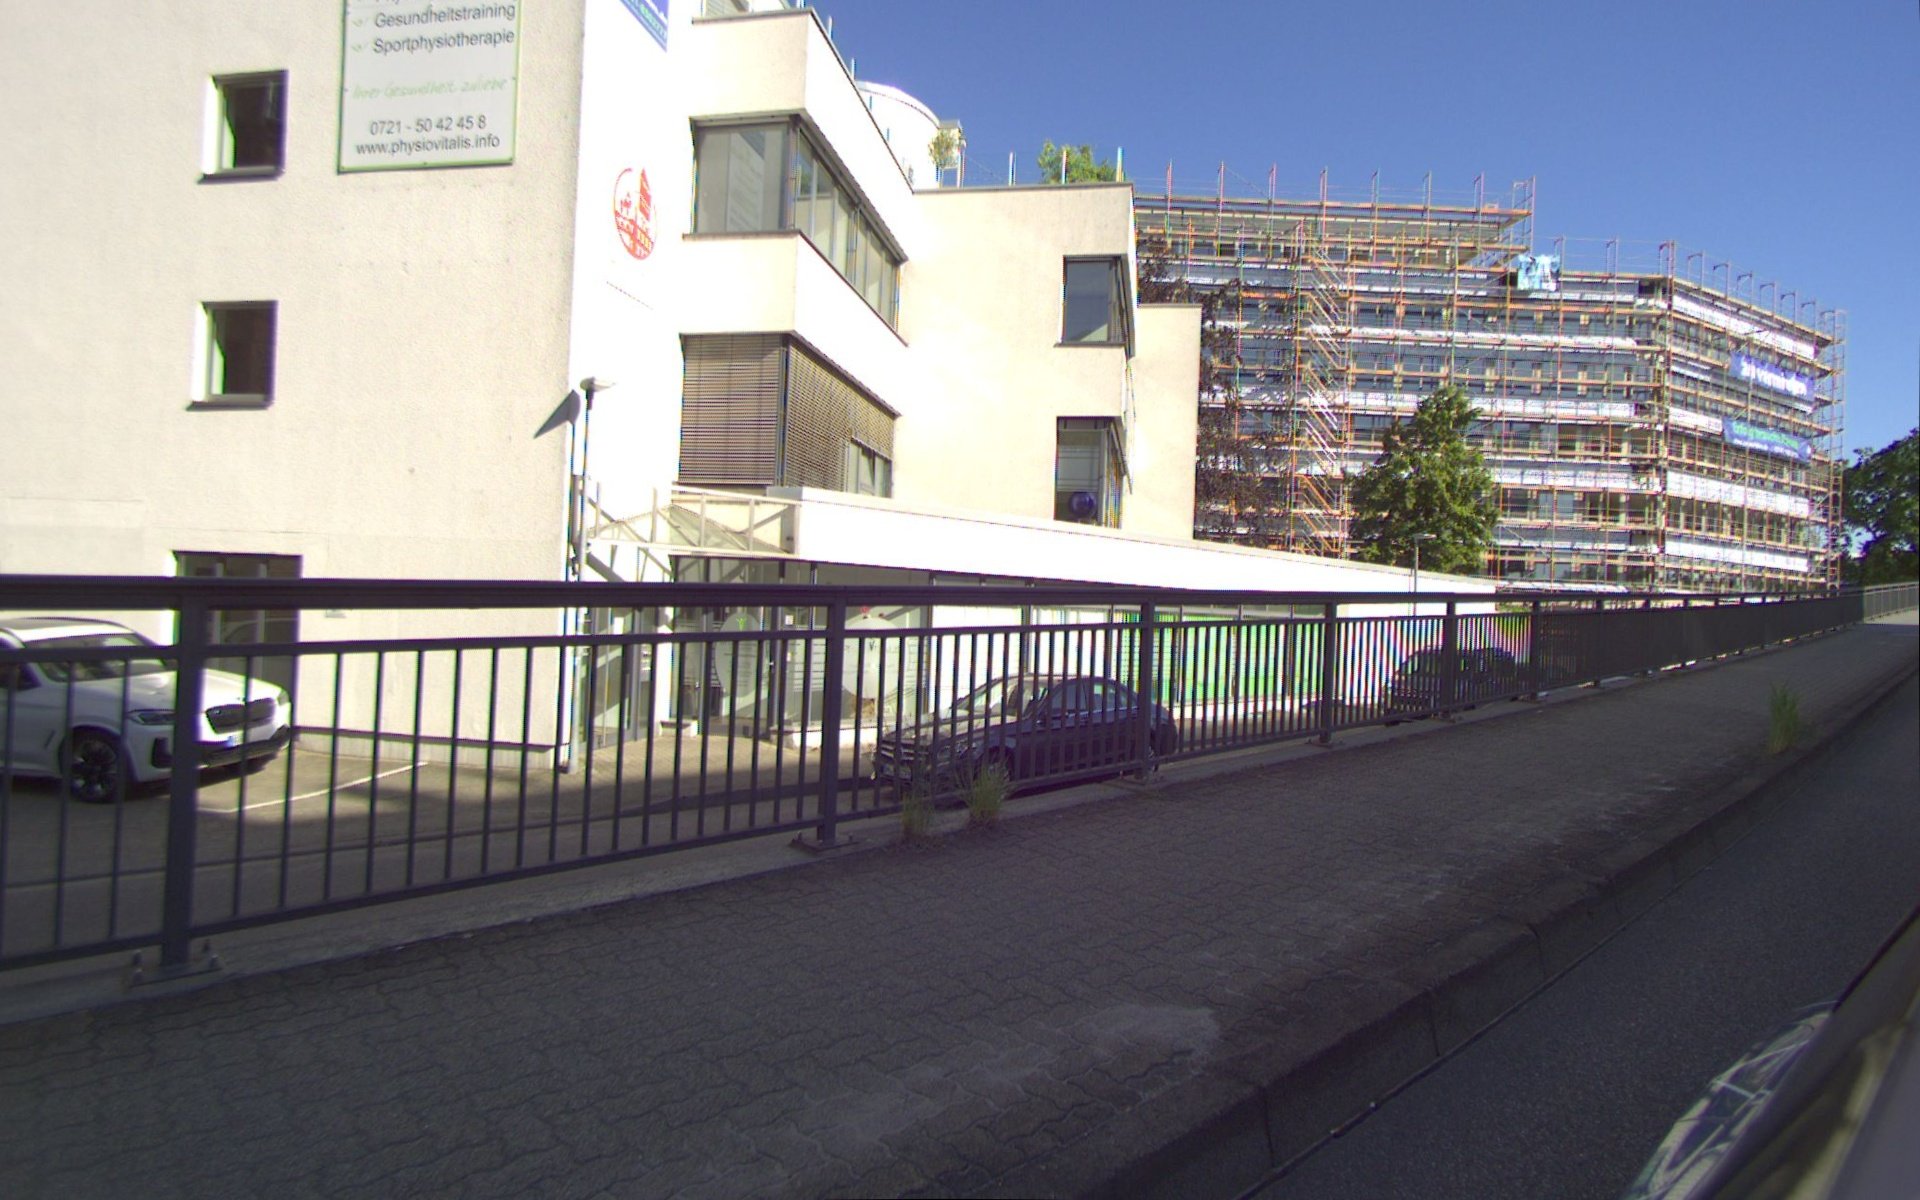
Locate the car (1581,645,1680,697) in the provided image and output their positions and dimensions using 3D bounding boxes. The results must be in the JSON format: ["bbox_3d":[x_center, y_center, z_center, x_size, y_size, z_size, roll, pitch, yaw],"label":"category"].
[{"bbox_3d":[21.093,2.173,31.789,3.931,1.410,1.723,1,-1,-42],"label":"car"}]

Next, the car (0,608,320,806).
[{"bbox_3d":[-9.564,1.021,10.837,4.455,1.707,1.840,2,0,9],"label":"car"}]

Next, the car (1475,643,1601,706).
[{"bbox_3d":[14.985,1.868,26.149,3.931,1.410,1.723,1,-1,-42],"label":"car"}]

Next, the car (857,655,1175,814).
[{"bbox_3d":[0.813,1.547,12.800,3.929,1.541,1.724,1,-1,-41],"label":"car"}]

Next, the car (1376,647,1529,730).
[{"bbox_3d":[10.864,1.861,22.219,3.931,1.541,1.723,1,-1,-42],"label":"car"}]
